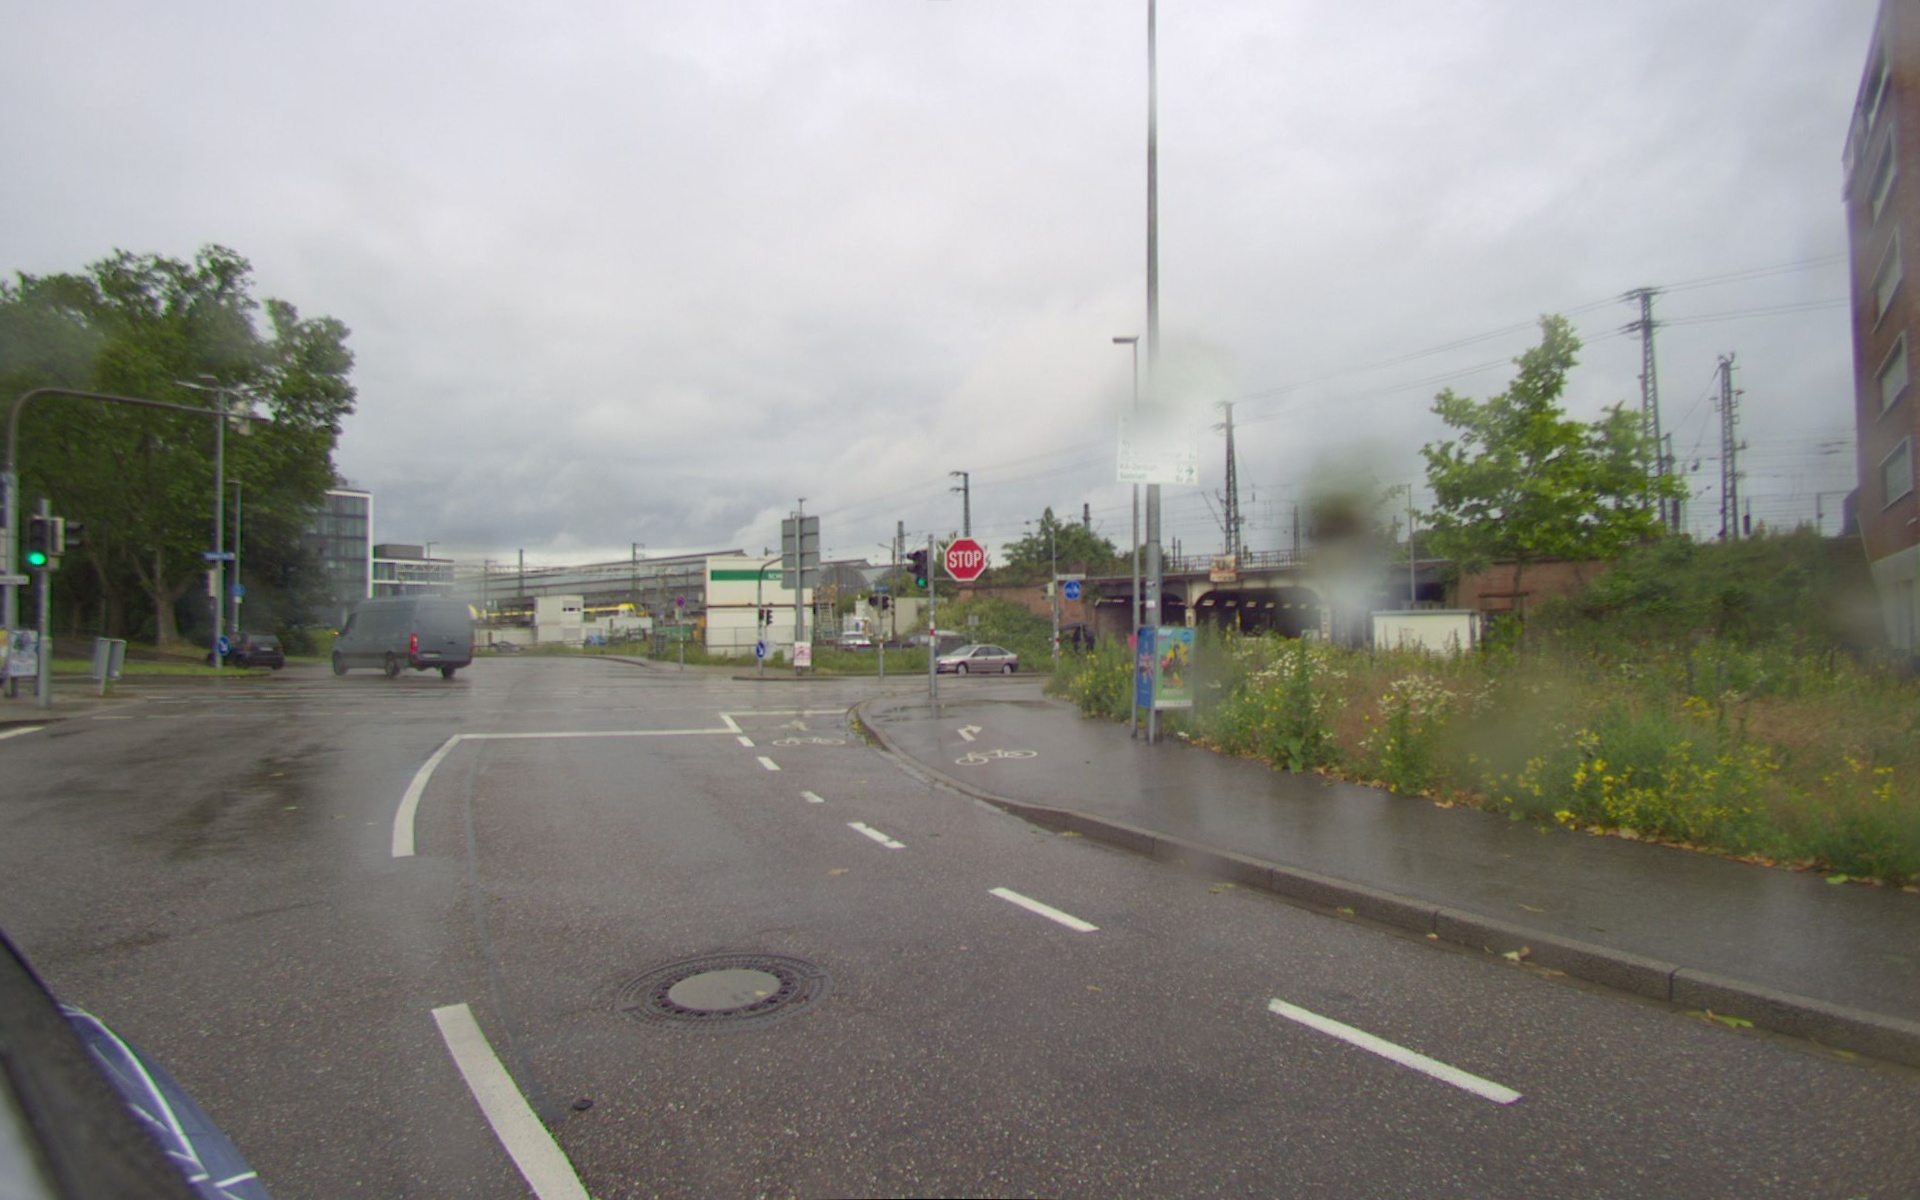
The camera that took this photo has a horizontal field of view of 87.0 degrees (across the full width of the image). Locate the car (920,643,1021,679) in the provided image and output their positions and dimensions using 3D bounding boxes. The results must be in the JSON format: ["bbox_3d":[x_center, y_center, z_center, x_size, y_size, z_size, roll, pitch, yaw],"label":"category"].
[{"bbox_3d":[0.511,2.692,44.917,4.359,1.497,1.736,3,-3,-38],"label":"car"}]

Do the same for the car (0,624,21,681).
[{"bbox_3d":[-25.433,1.293,24.781,3.962,1.392,1.736,-1,-1,15],"label":"car"}]

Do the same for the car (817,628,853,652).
[{"bbox_3d":[-11.229,3.589,90.901,1.965,2.029,4.013,0,-1,-28],"label":"car"}]

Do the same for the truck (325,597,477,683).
[{"bbox_3d":[-18.865,1.324,33.965,6.972,2.639,2.063,-2,-3,40],"label":"truck"}]

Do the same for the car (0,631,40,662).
[{"bbox_3d":[-53.963,2.610,57.149,3.987,1.654,1.978,-1,-3,32],"label":"car"}]

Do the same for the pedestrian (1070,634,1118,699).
[{"bbox_3d":[4.073,1.986,30.724,0.918,1.923,1.309,-2,-3,39],"label":"pedestrian"}]

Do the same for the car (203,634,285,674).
[{"bbox_3d":[-28.852,2.199,40.754,3.523,1.463,1.630,-4,-5,35],"label":"car"}]
